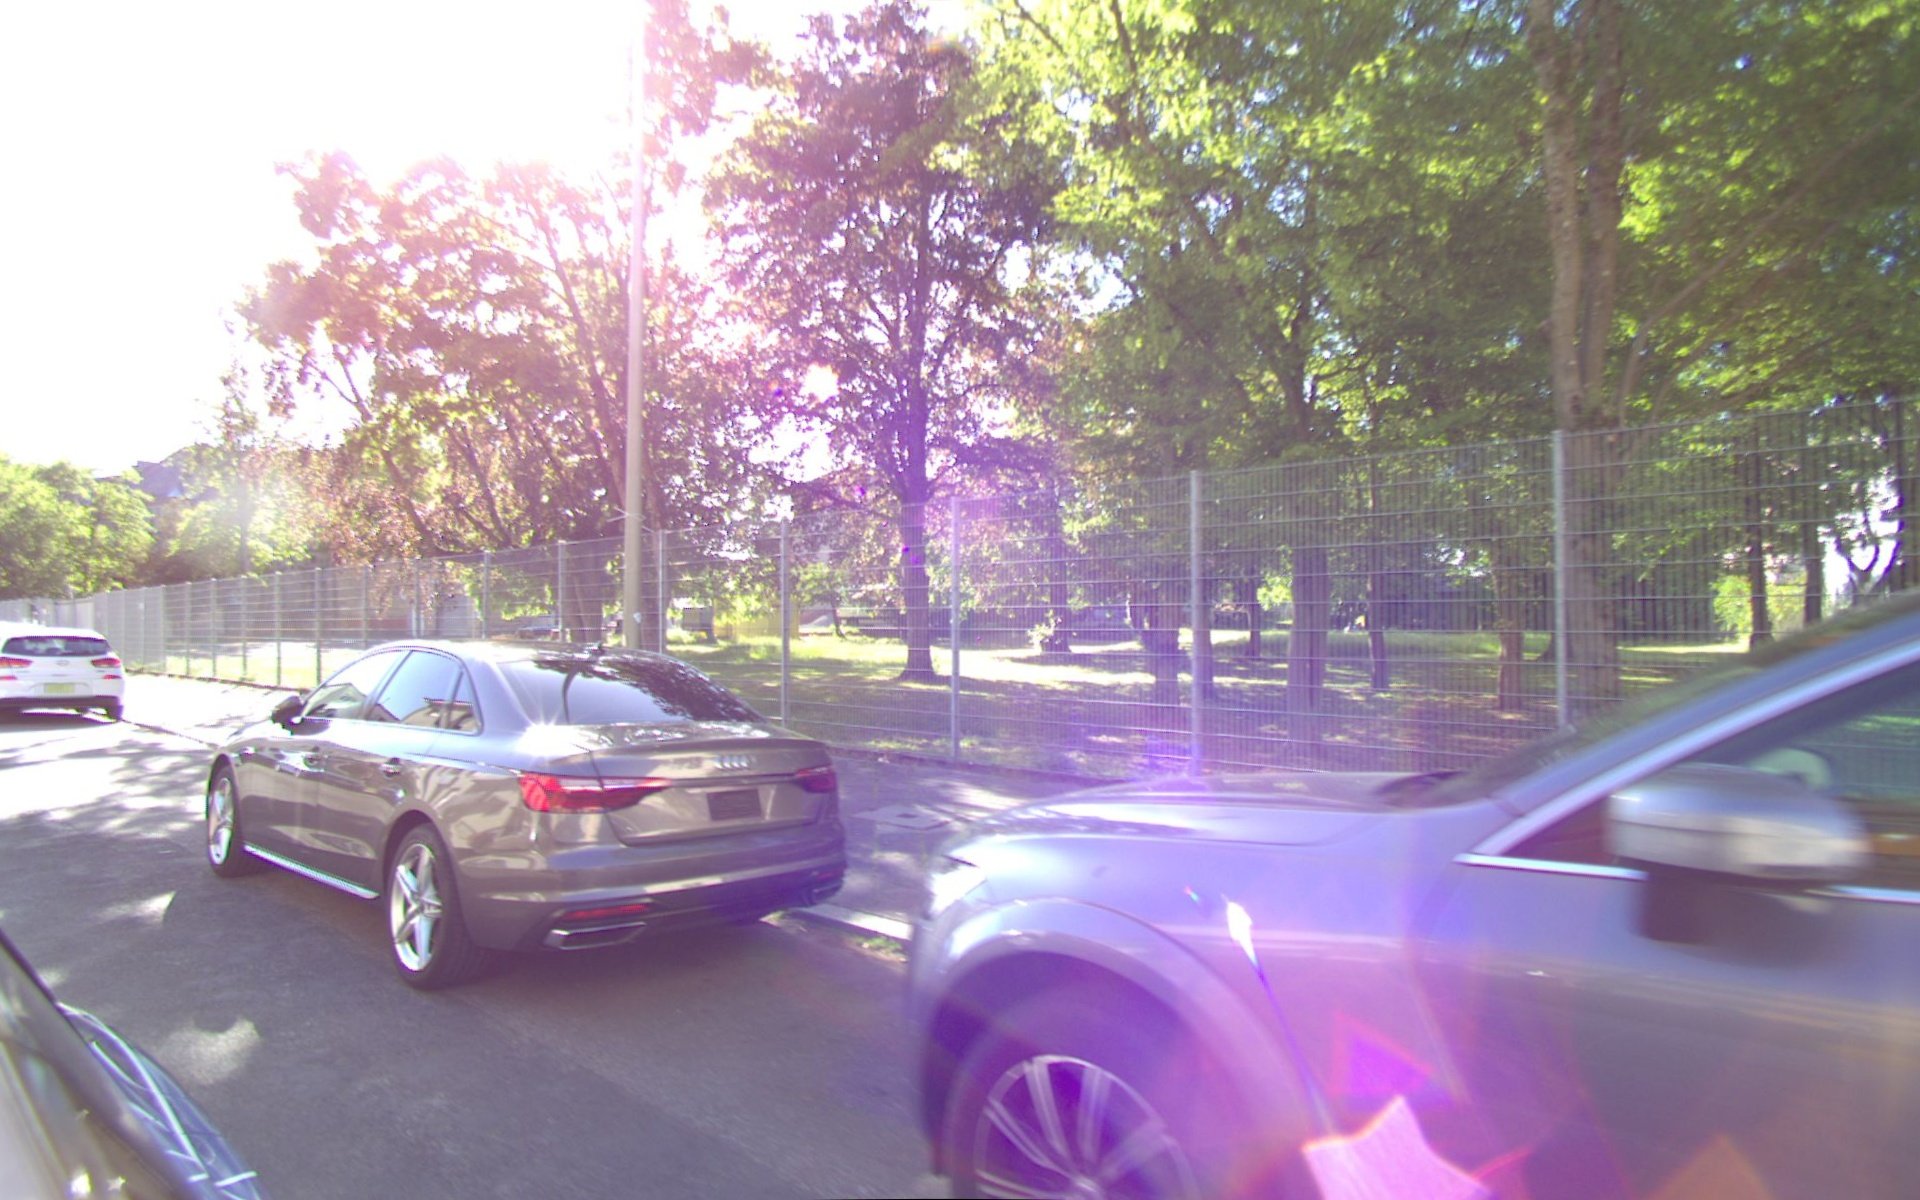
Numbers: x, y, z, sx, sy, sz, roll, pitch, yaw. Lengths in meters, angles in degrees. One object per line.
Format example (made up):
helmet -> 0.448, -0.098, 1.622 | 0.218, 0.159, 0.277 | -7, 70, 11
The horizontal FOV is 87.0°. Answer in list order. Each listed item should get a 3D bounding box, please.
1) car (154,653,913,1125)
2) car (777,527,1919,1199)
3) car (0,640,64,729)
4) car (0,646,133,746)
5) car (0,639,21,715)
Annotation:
car -> -2.527, 1.071, 5.402 | 4.497, 1.482, 1.776 | -2, -6, 39
car -> 2.109, 0.814, 1.323 | 4.926, 1.676, 1.860 | -2, -6, 39
car -> -19.321, 1.629, 20.116 | 3.612, 1.656, 1.548 | -2, -8, 39
car -> -15.250, 1.522, 16.622 | 4.116, 1.456, 1.775 | -2, -6, 40
car -> -23.227, 1.709, 23.280 | 4.160, 1.676, 1.695 | -2, -7, 39
